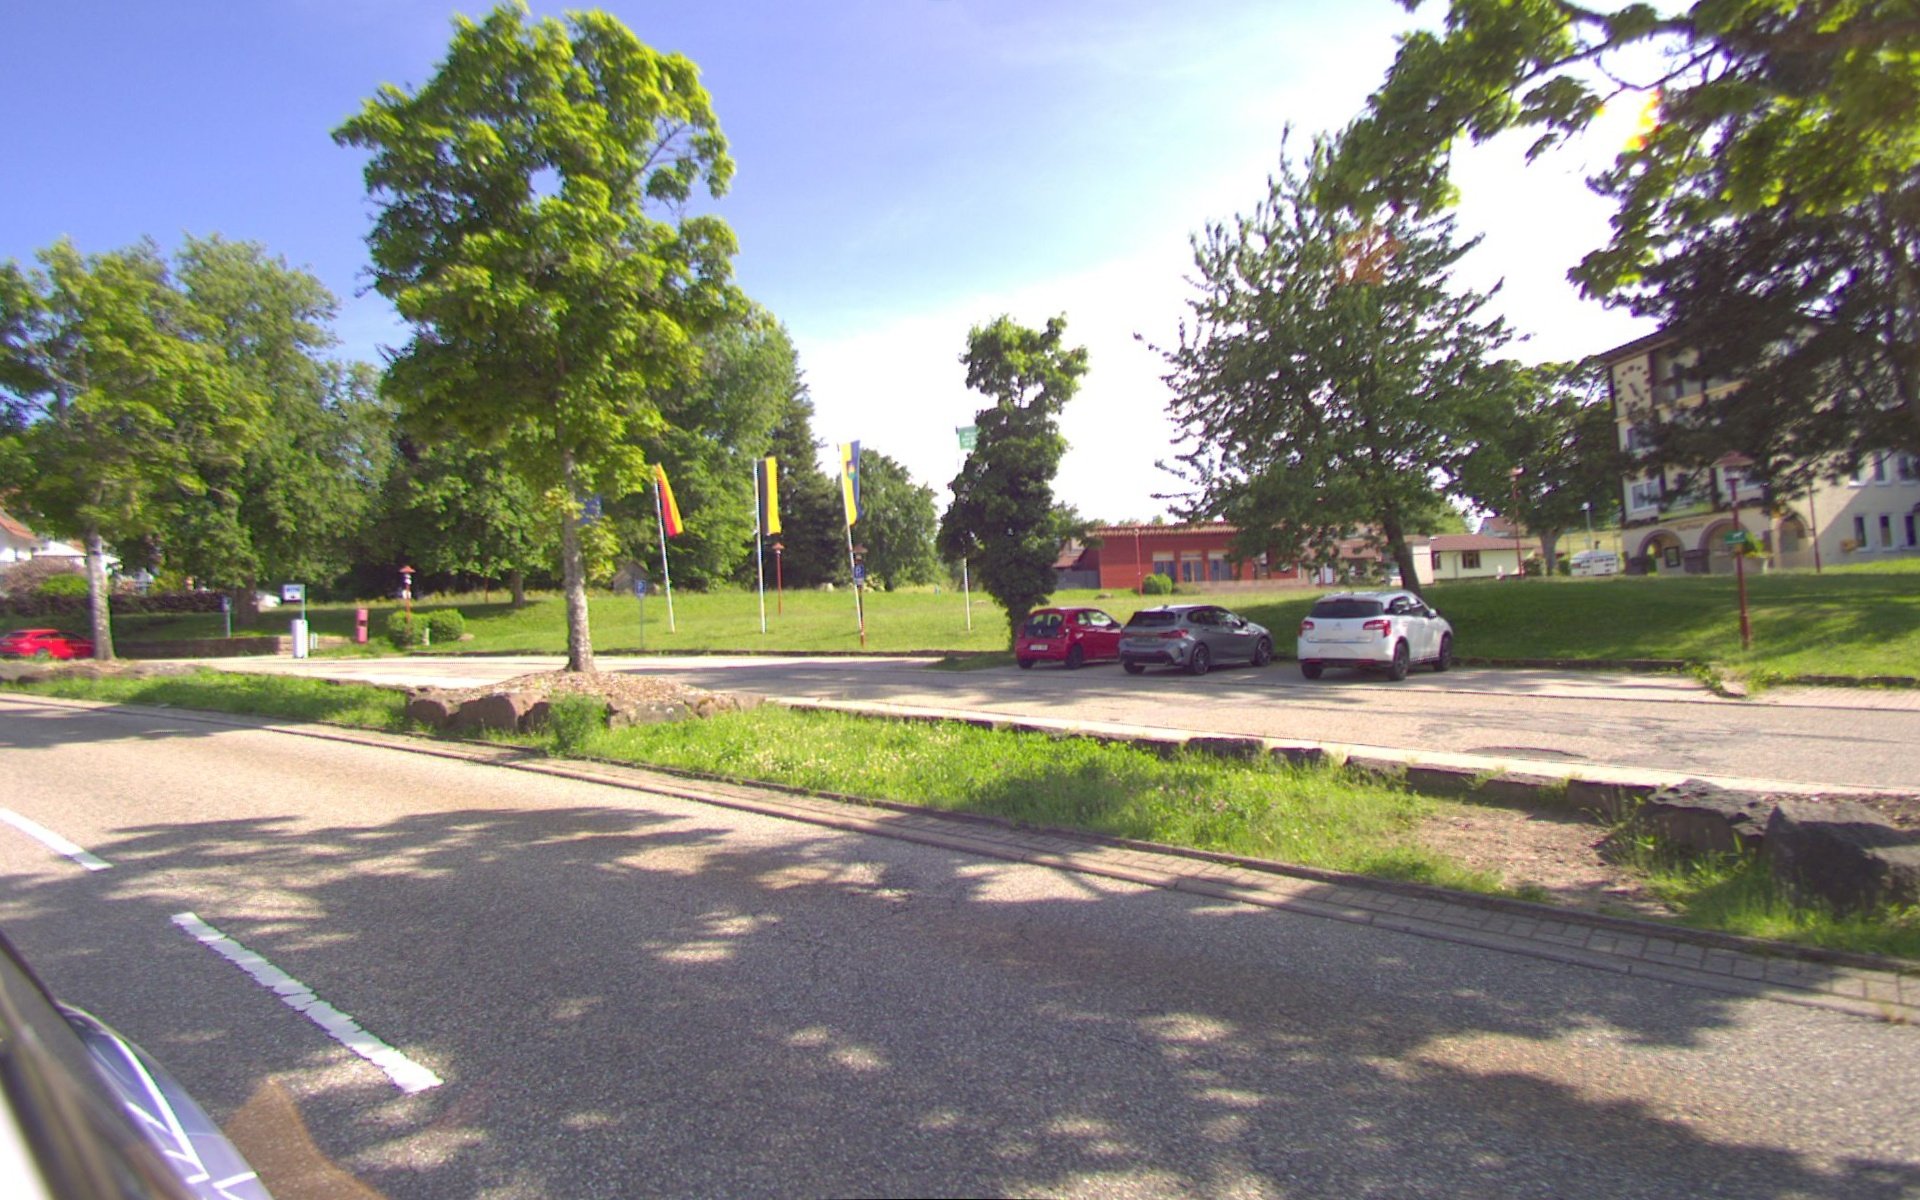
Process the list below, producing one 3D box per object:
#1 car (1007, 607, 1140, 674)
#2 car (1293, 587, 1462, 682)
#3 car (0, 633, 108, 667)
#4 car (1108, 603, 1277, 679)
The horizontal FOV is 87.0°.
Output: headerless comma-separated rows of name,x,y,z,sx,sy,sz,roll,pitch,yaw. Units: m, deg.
car,2.826,0.946,24.895,1.775,1.481,3.165,-2,-1,41
car,8.017,0.592,19.264,1.776,1.621,3.887,-2,-1,42
car,-41.127,2.227,45.571,1.800,1.409,4.233,-1,-2,4
car,5.053,0.821,21.781,3.657,1.444,1.778,-1,-1,-43
